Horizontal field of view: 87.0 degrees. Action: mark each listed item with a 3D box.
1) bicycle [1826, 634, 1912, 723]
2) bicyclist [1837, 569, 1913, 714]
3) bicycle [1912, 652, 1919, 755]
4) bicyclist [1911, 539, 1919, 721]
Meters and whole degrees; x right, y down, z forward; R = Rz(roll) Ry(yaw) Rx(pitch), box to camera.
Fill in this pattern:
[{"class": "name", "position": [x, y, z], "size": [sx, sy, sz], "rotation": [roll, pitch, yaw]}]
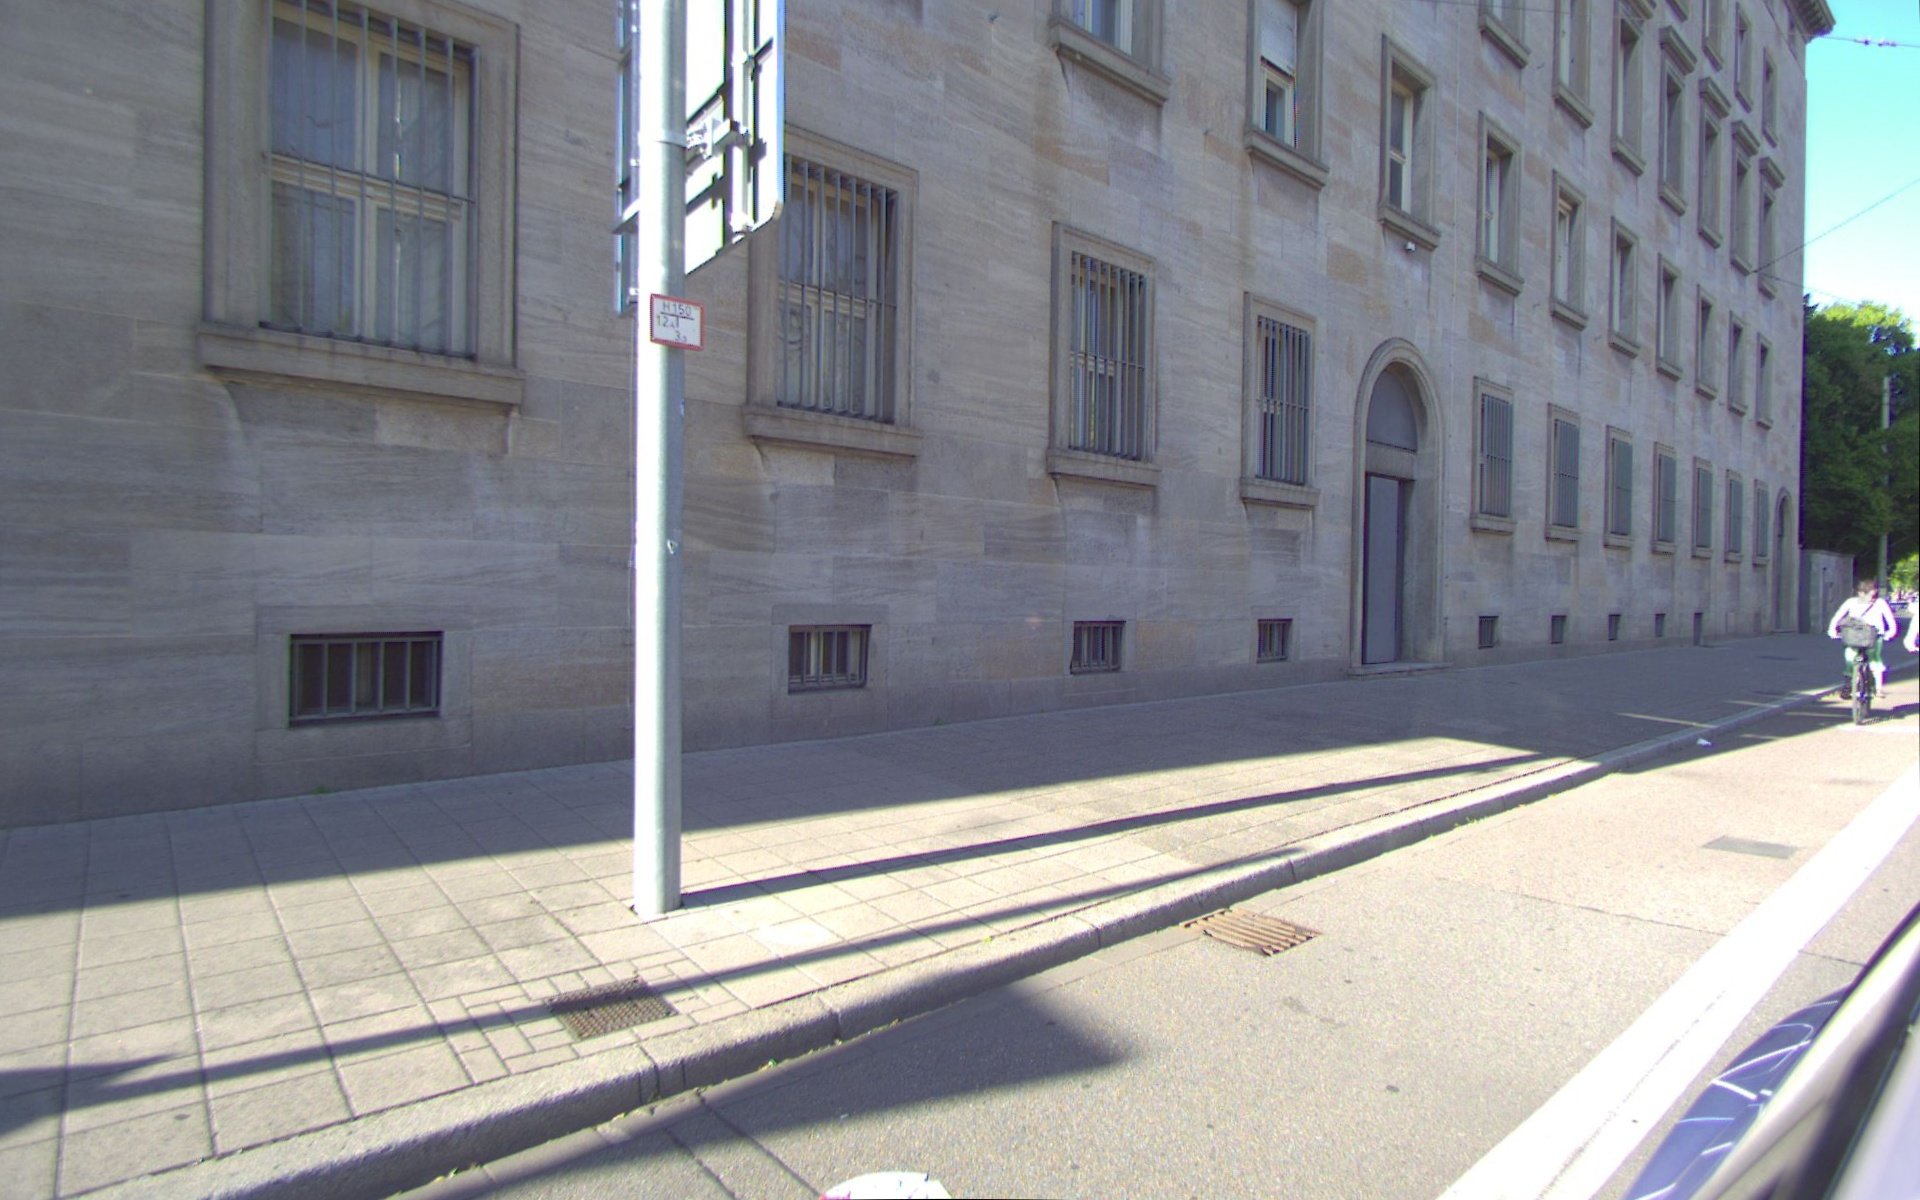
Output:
[{"class": "bicycle", "position": [10.943, 0.908, 12.163], "size": [1.915, 0.887, 0.428], "rotation": [-2, 2, -38]}, {"class": "bicyclist", "position": [11.133, 0.476, 12.313], "size": [0.843, 1.700, 0.523], "rotation": [0, 1, -38]}, {"class": "bicycle", "position": [9.464, 0.933, 9.419], "size": [1.912, 0.916, 0.391], "rotation": [0, 1, -32]}, {"class": "bicyclist", "position": [9.372, 0.287, 9.393], "size": [0.644, 1.699, 0.672], "rotation": [0, 1, -37]}]
